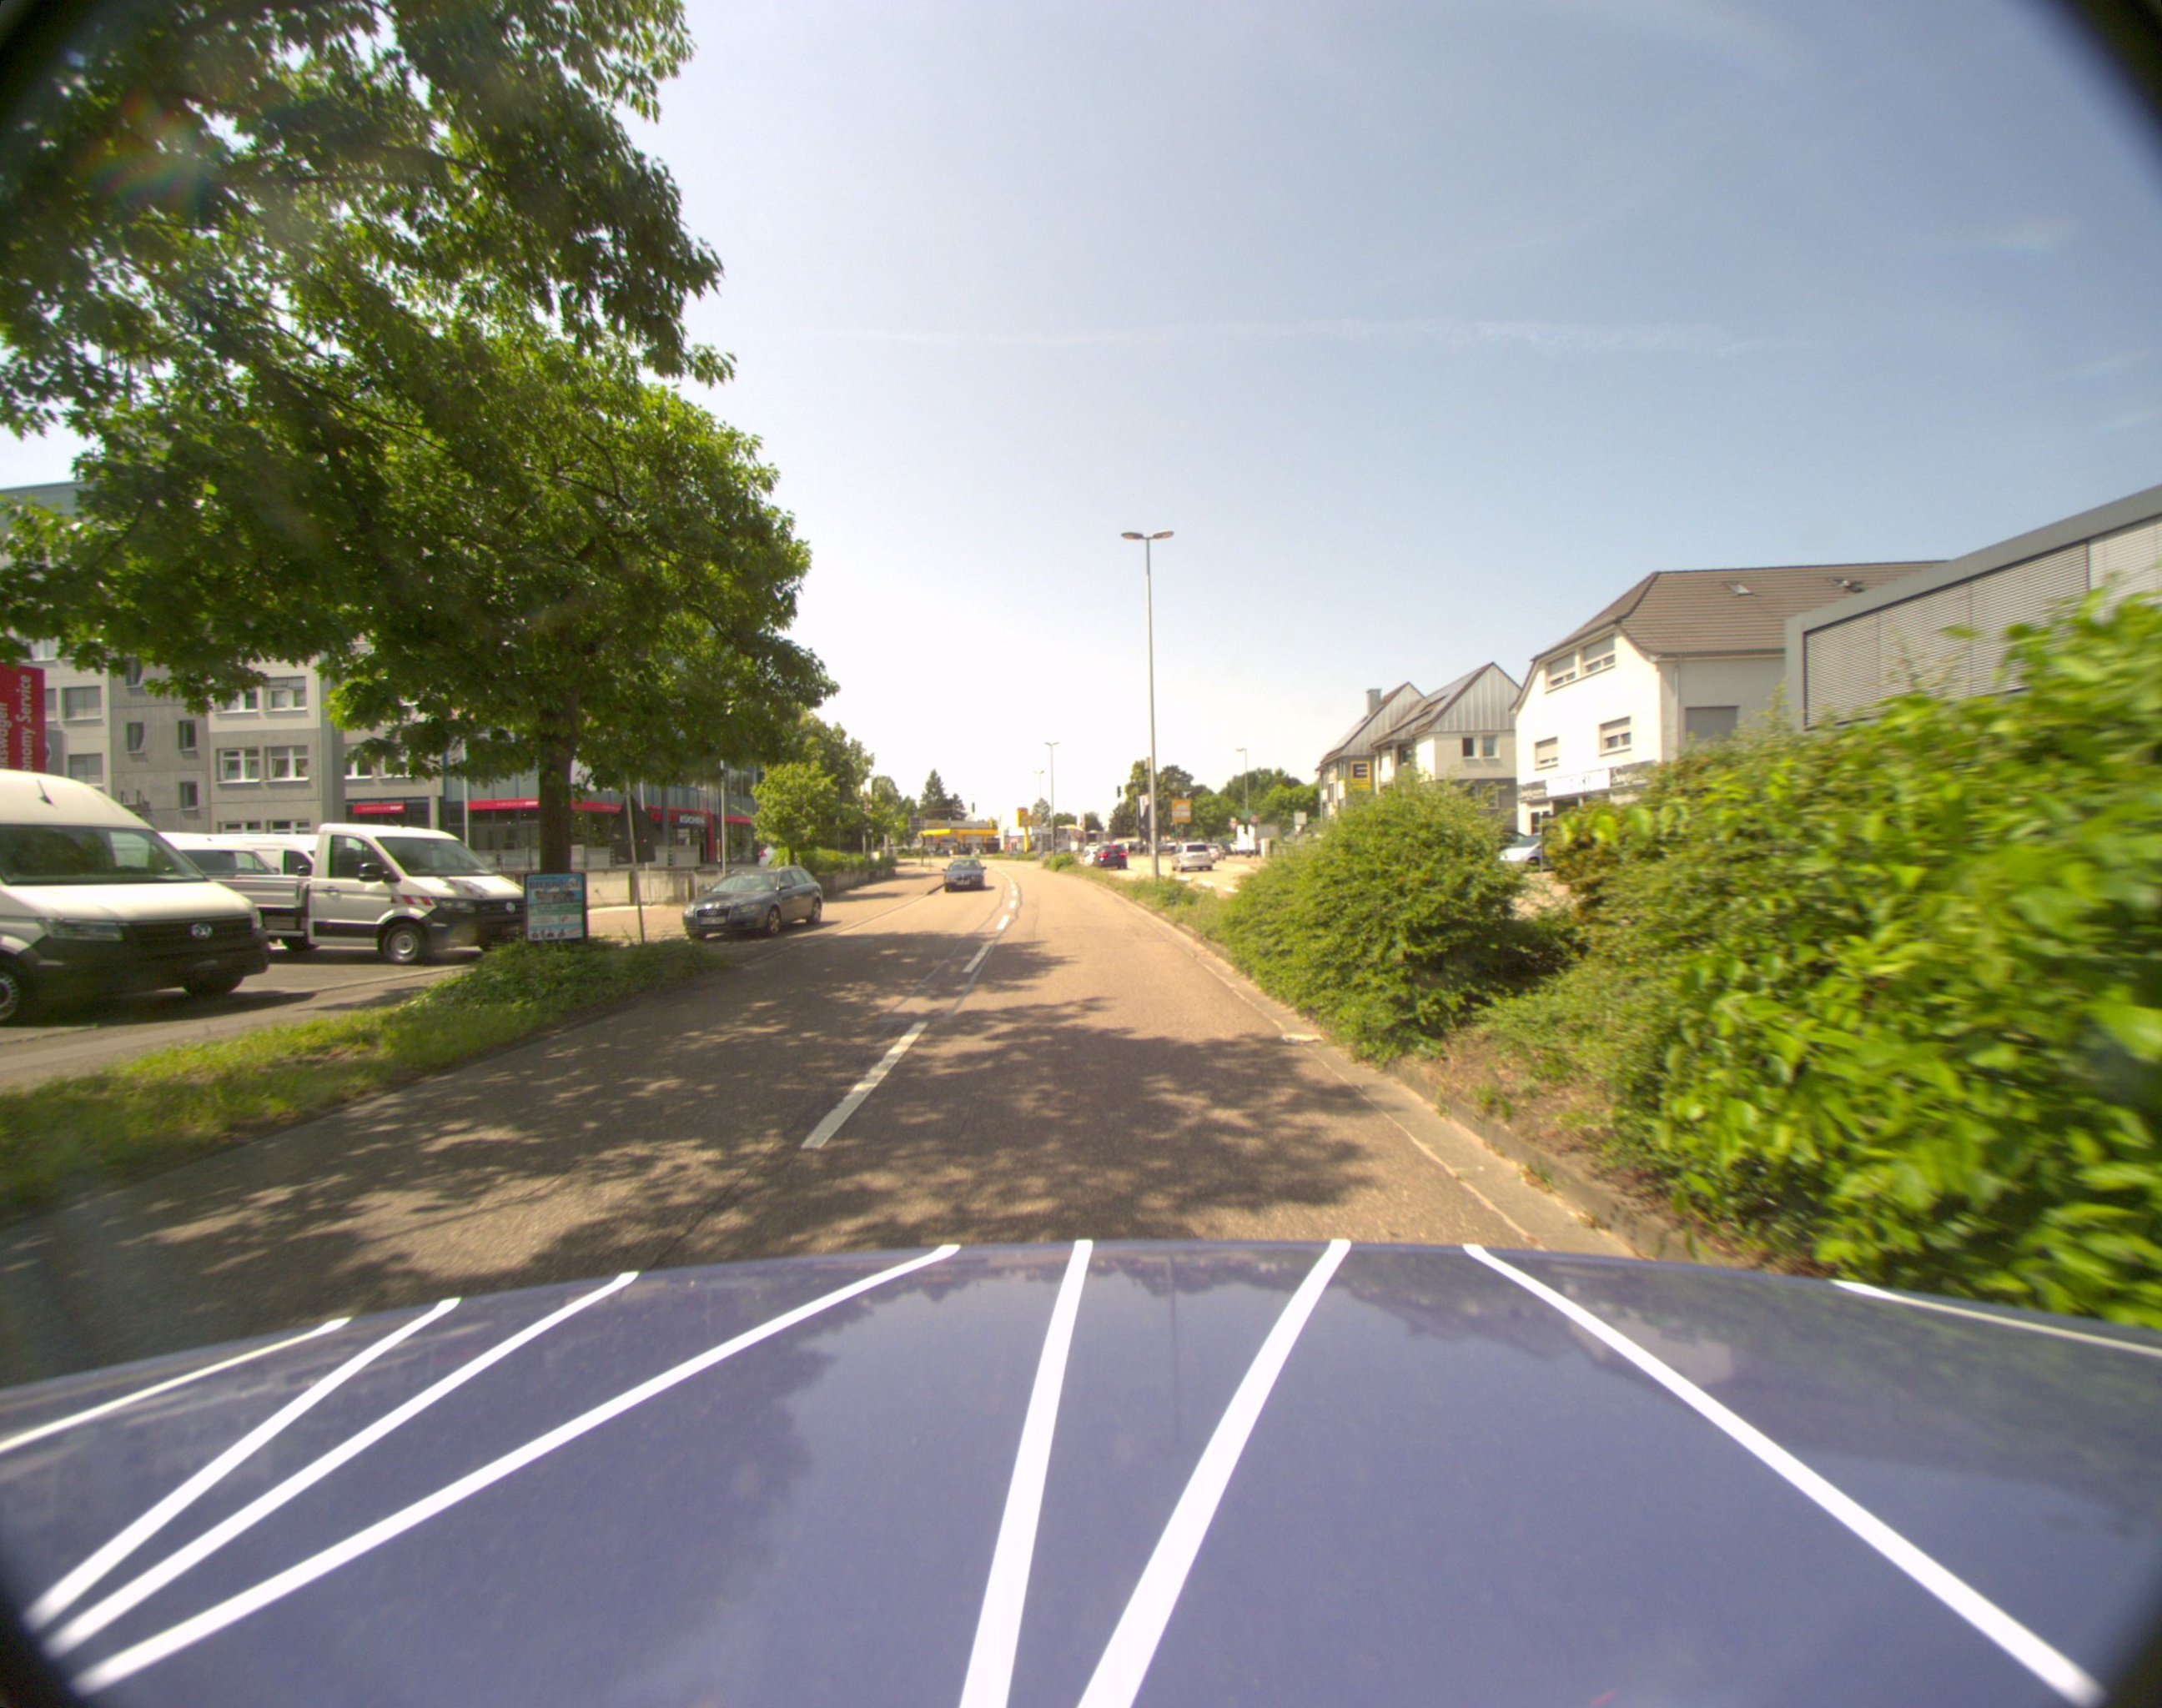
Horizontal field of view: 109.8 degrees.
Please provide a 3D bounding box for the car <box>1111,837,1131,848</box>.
[{"bbox_3d":[5.699,-1.626,108.002,1.712,1.424,3.967,-1,3,22],"label":"car"}]

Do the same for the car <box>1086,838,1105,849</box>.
[{"bbox_3d":[2.160,-1.576,112.293,1.754,1.501,3.824,-2,2,19],"label":"car"}]

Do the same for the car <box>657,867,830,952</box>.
[{"bbox_3d":[-7.236,1.110,16.847,1.802,1.398,4.319,-3,1,0],"label":"car"}]

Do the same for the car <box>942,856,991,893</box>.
[{"bbox_3d":[-4.959,0.841,33.337,1.698,1.365,3.998,-2,1,-3],"label":"car"}]

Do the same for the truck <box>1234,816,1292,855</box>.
[{"bbox_3d":[18.706,-1.926,77.905,2.266,3.399,7.049,-2,4,44],"label":"truck"}]

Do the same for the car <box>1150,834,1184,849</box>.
[{"bbox_3d":[11.653,-1.672,102.945,4.300,1.891,1.831,0,3,20],"label":"car"}]

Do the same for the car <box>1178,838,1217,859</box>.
[{"bbox_3d":[8.846,-0.466,58.095,1.810,1.346,4.353,-6,1,-5],"label":"car"}]

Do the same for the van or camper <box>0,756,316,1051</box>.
[{"bbox_3d":[-13.247,0.547,8.638,6.813,2.881,2.275,-1,0,1],"label":"van or camper"}]

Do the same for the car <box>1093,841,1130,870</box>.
[{"bbox_3d":[2.015,0.048,51.629,1.914,1.741,4.757,-3,2,-3],"label":"car"}]

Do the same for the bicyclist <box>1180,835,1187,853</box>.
[{"bbox_3d":[10.168,-1.000,75.383,0.423,1.635,0.818,-4,8,-21],"label":"bicyclist"}]

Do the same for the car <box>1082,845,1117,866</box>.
[{"bbox_3d":[1.374,0.075,57.564,1.869,1.423,4.740,-3,1,-8],"label":"car"}]

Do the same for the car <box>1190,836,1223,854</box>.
[{"bbox_3d":[11.416,-0.822,69.404,1.903,1.557,4.195,-2,2,-4],"label":"car"}]

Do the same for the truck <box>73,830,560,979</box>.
[{"bbox_3d":[-12.944,0.822,13.183,6.259,2.323,2.369,-1,0,3],"label":"truck"}]

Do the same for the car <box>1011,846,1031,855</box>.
[{"bbox_3d":[-8.741,-0.506,109.872,1.871,1.358,4.339,0,0,-19],"label":"car"}]

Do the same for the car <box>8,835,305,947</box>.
[{"bbox_3d":[-23.971,0.903,19.844,5.294,2.522,2.037,-3,2,3],"label":"car"}]

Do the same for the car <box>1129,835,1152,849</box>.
[{"bbox_3d":[8.298,-1.680,105.711,1.847,1.714,4.007,-3,3,-17],"label":"car"}]

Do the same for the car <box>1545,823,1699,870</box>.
[{"bbox_3d":[19.041,-0.272,26.872,4.067,1.512,1.999,-2,1,-1],"label":"car"}]

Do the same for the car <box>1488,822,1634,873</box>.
[{"bbox_3d":[18.597,-0.261,29.536,4.619,1.488,1.751,-6,1,-6],"label":"car"}]

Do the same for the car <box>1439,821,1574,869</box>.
[{"bbox_3d":[18.106,-0.376,32.507,4.617,1.618,1.854,-5,1,1],"label":"car"}]

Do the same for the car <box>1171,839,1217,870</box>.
[{"bbox_3d":[6.281,0.019,42.666,1.785,1.619,4.339,-1,0,-2],"label":"car"}]

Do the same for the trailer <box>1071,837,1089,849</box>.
[{"bbox_3d":[-0.153,-1.737,115.556,1.689,1.694,2.438,-2,2,31],"label":"trailer"}]

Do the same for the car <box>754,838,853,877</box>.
[{"bbox_3d":[-14.773,0.149,40.441,4.745,1.704,1.996,-4,2,-23],"label":"car"}]

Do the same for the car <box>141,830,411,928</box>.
[{"bbox_3d":[-23.709,0.684,22.528,5.898,2.514,2.120,-3,2,5],"label":"car"}]

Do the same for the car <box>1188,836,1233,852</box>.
[{"bbox_3d":[14.999,-1.201,88.005,4.763,1.601,1.760,-3,2,-11],"label":"car"}]
